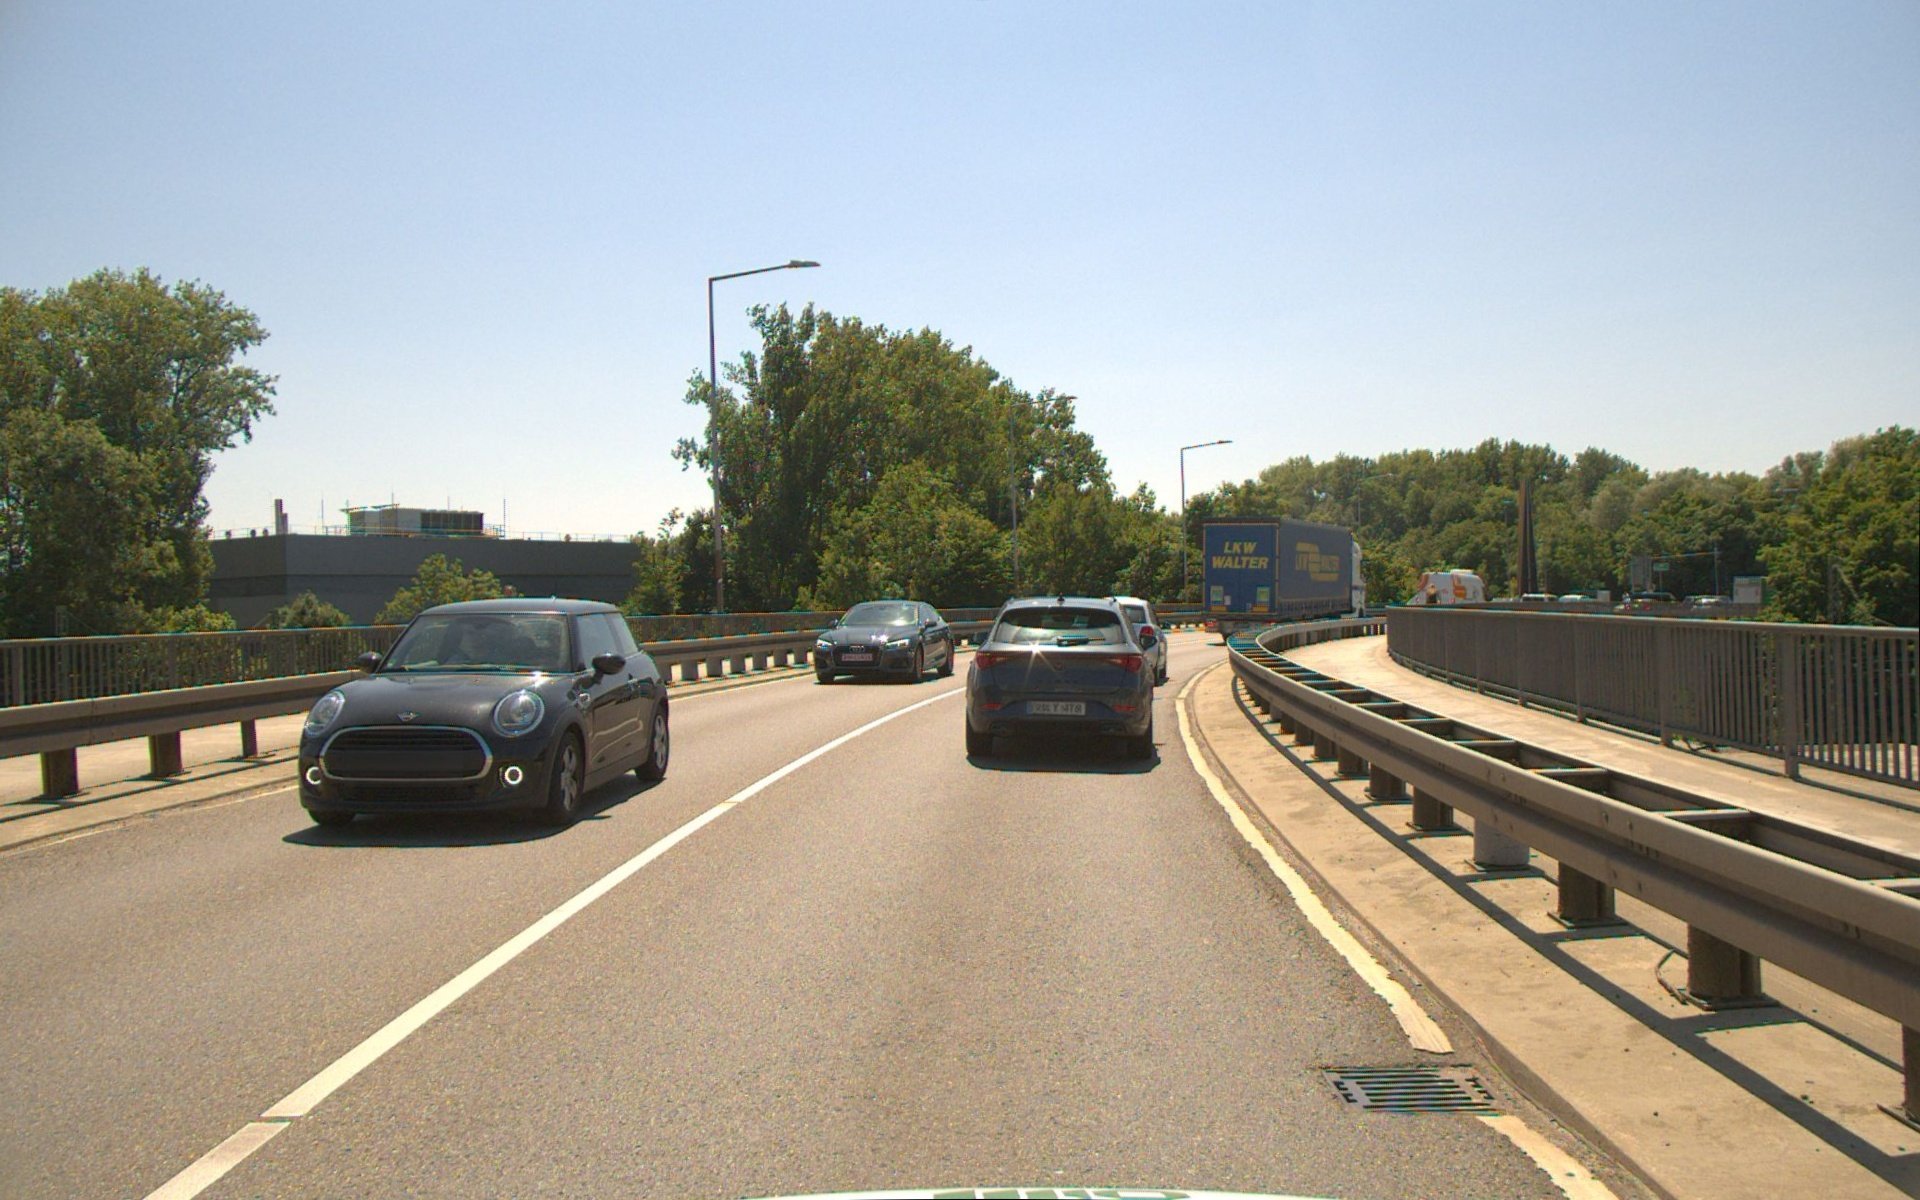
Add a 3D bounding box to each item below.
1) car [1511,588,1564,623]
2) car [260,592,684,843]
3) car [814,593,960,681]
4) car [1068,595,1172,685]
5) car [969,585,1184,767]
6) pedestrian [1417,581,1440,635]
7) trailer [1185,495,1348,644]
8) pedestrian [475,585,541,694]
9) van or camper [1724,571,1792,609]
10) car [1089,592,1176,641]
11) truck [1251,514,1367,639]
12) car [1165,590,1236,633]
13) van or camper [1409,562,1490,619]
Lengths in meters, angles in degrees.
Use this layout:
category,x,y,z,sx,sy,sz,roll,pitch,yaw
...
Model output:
category,x,y,z,sx,sy,sz,roll,pitch,yaw
car,32.467,0.317,92.940,1.856,1.882,3.986,0,-1,34
car,-3.203,0.713,11.672,1.752,1.444,3.774,-1,-1,2
car,-1.222,0.640,29.775,1.751,1.440,4.578,-1,-1,8
car,2.924,0.685,29.720,1.559,1.486,3.548,1,0,10
car,1.032,0.629,15.931,1.807,1.525,3.759,0,0,1
pedestrian,17.596,0.293,62.070,0.722,2.002,0.734,1,-1,25
trailer,11.153,-0.923,58.724,3.070,4.695,12.945,1,0,22
pedestrian,-6.759,0.582,24.756,0.699,1.589,0.695,-1,-1,8
van or camper,60.312,-0.732,125.030,4.906,2.331,2.462,5,2,-37
car,5.560,0.520,52.848,1.690,1.509,3.865,-1,-1,23
truck,13.906,-0.844,65.396,3.106,4.665,7.394,1,-1,23
car,9.639,0.460,66.138,1.681,1.643,4.116,-1,0,25
van or camper,24.449,-0.480,82.504,2.165,2.758,5.906,0,1,35
